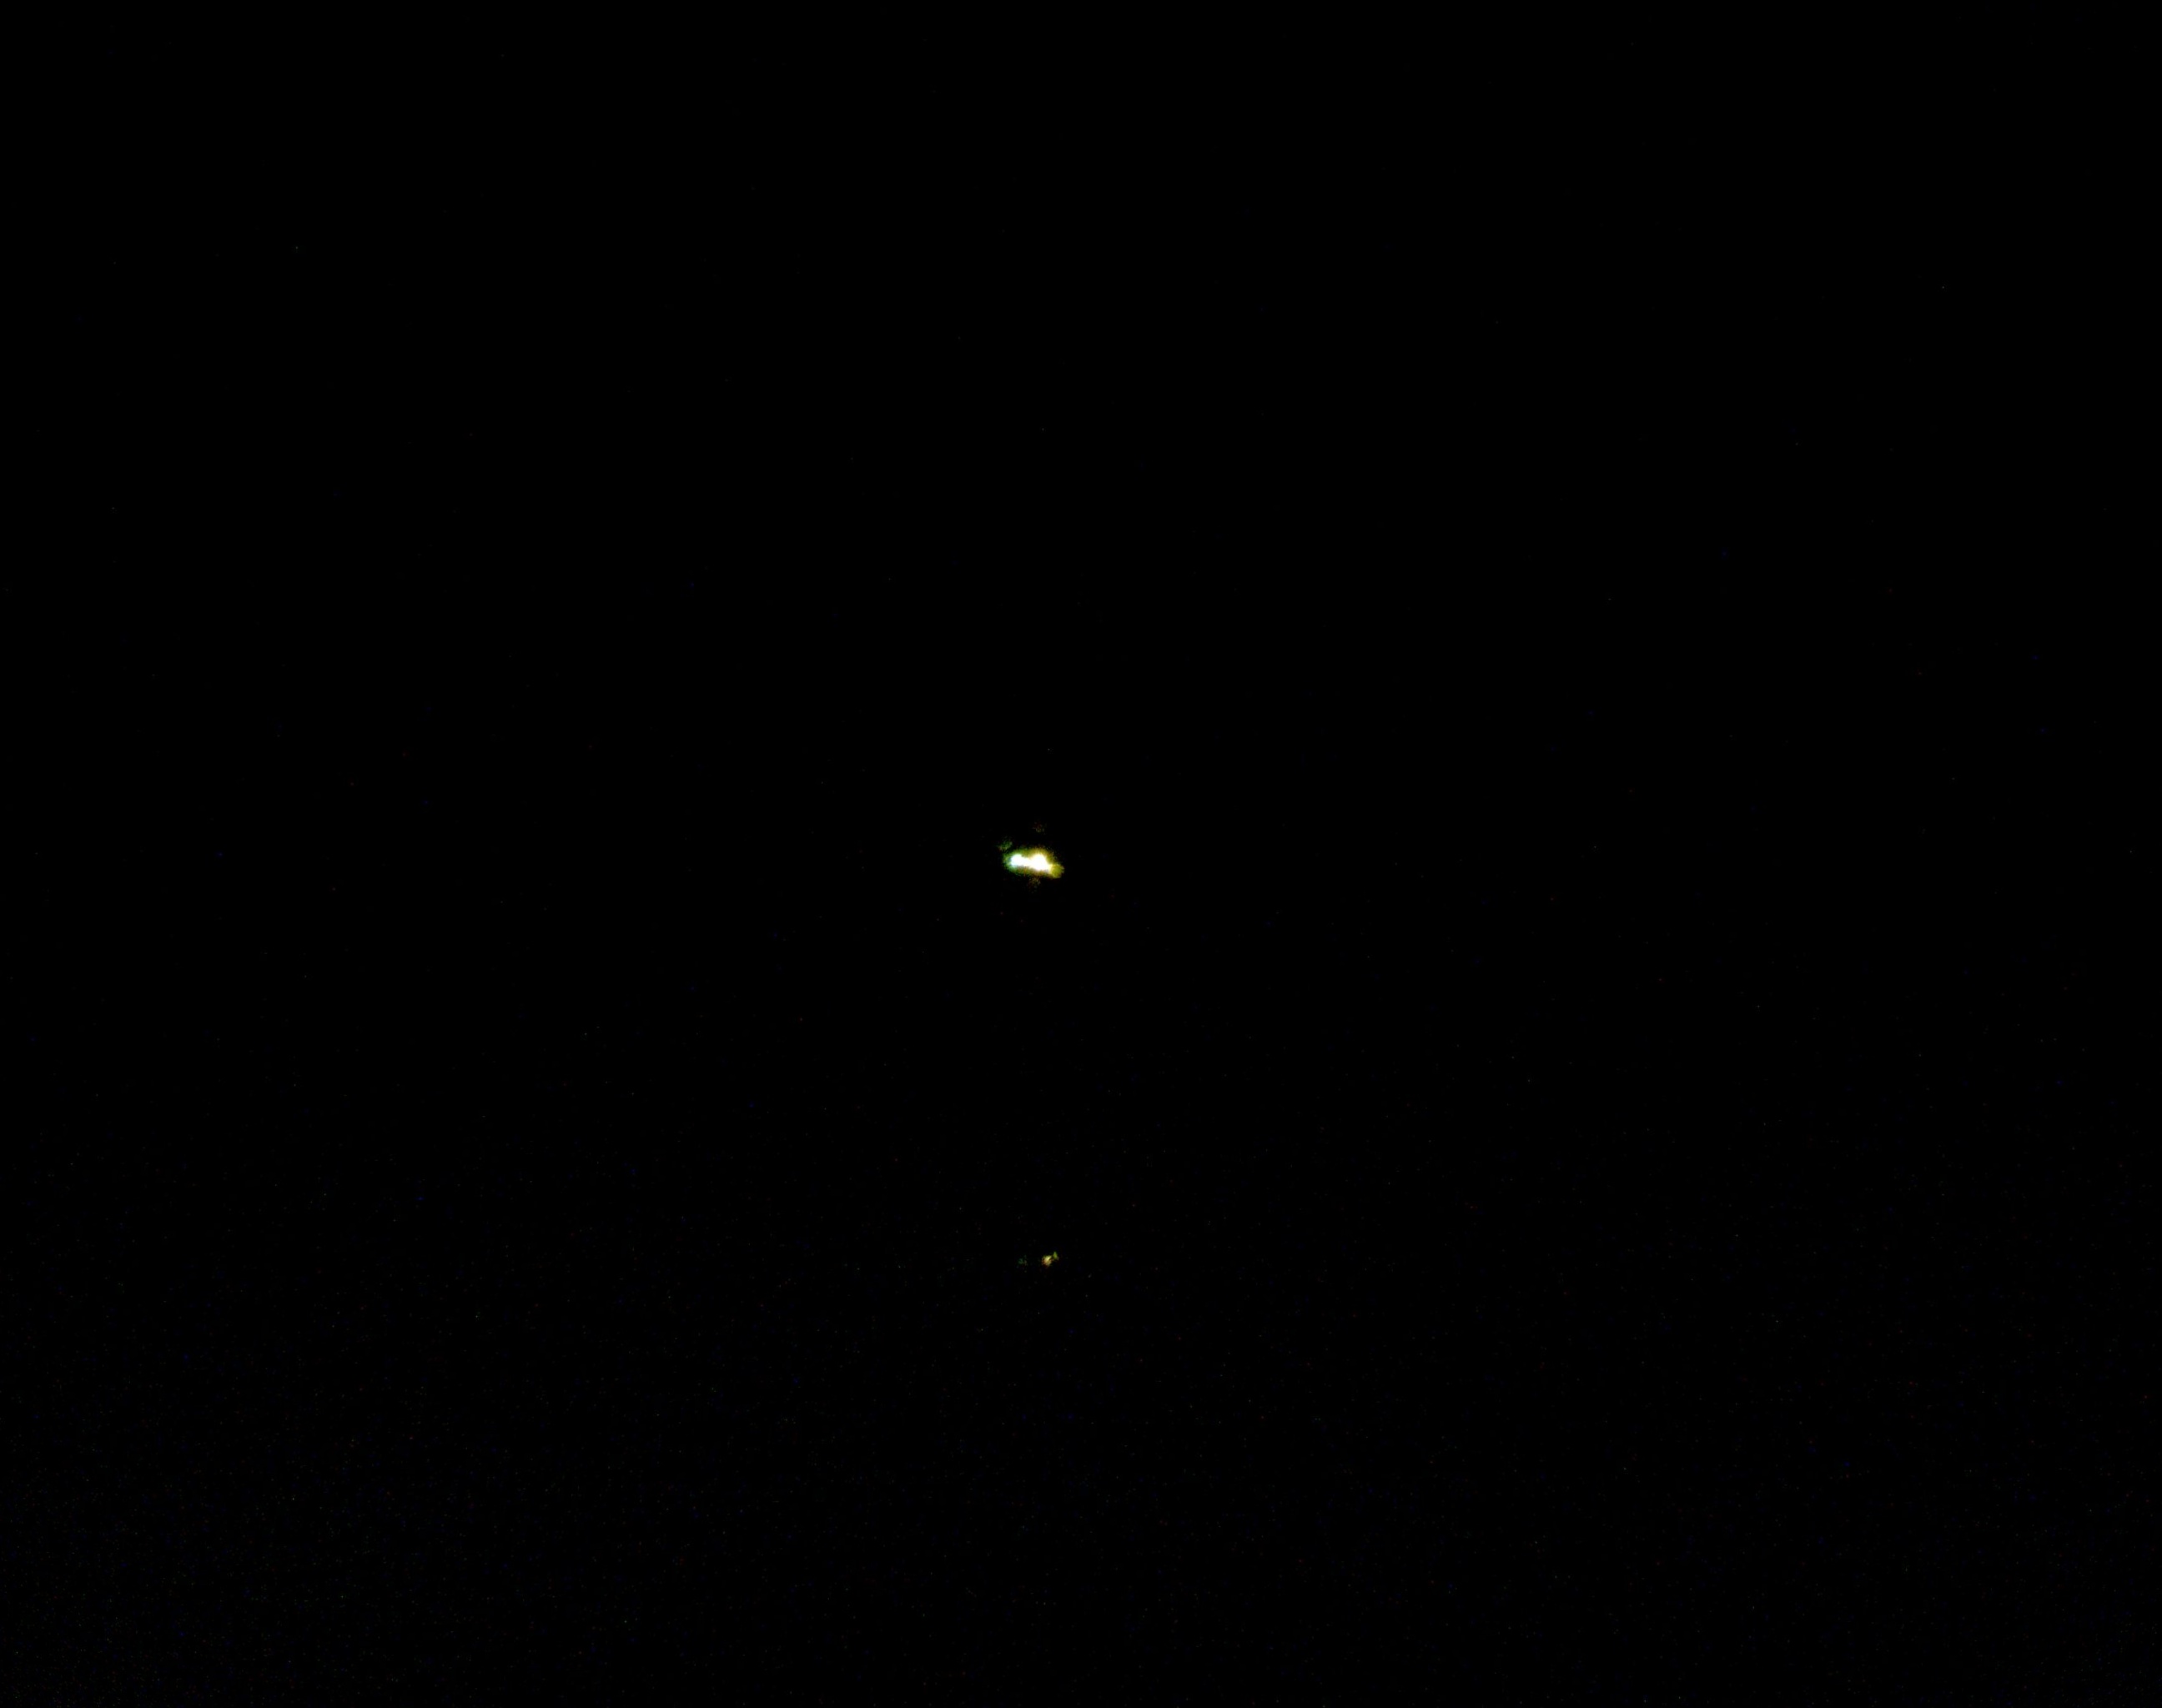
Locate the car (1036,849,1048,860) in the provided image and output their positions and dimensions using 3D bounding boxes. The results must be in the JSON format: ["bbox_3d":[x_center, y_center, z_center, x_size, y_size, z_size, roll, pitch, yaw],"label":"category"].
[{"bbox_3d":[-7.527,0.018,145.820,2.000,2.002,3.996,0,1,-6],"label":"car"}]
